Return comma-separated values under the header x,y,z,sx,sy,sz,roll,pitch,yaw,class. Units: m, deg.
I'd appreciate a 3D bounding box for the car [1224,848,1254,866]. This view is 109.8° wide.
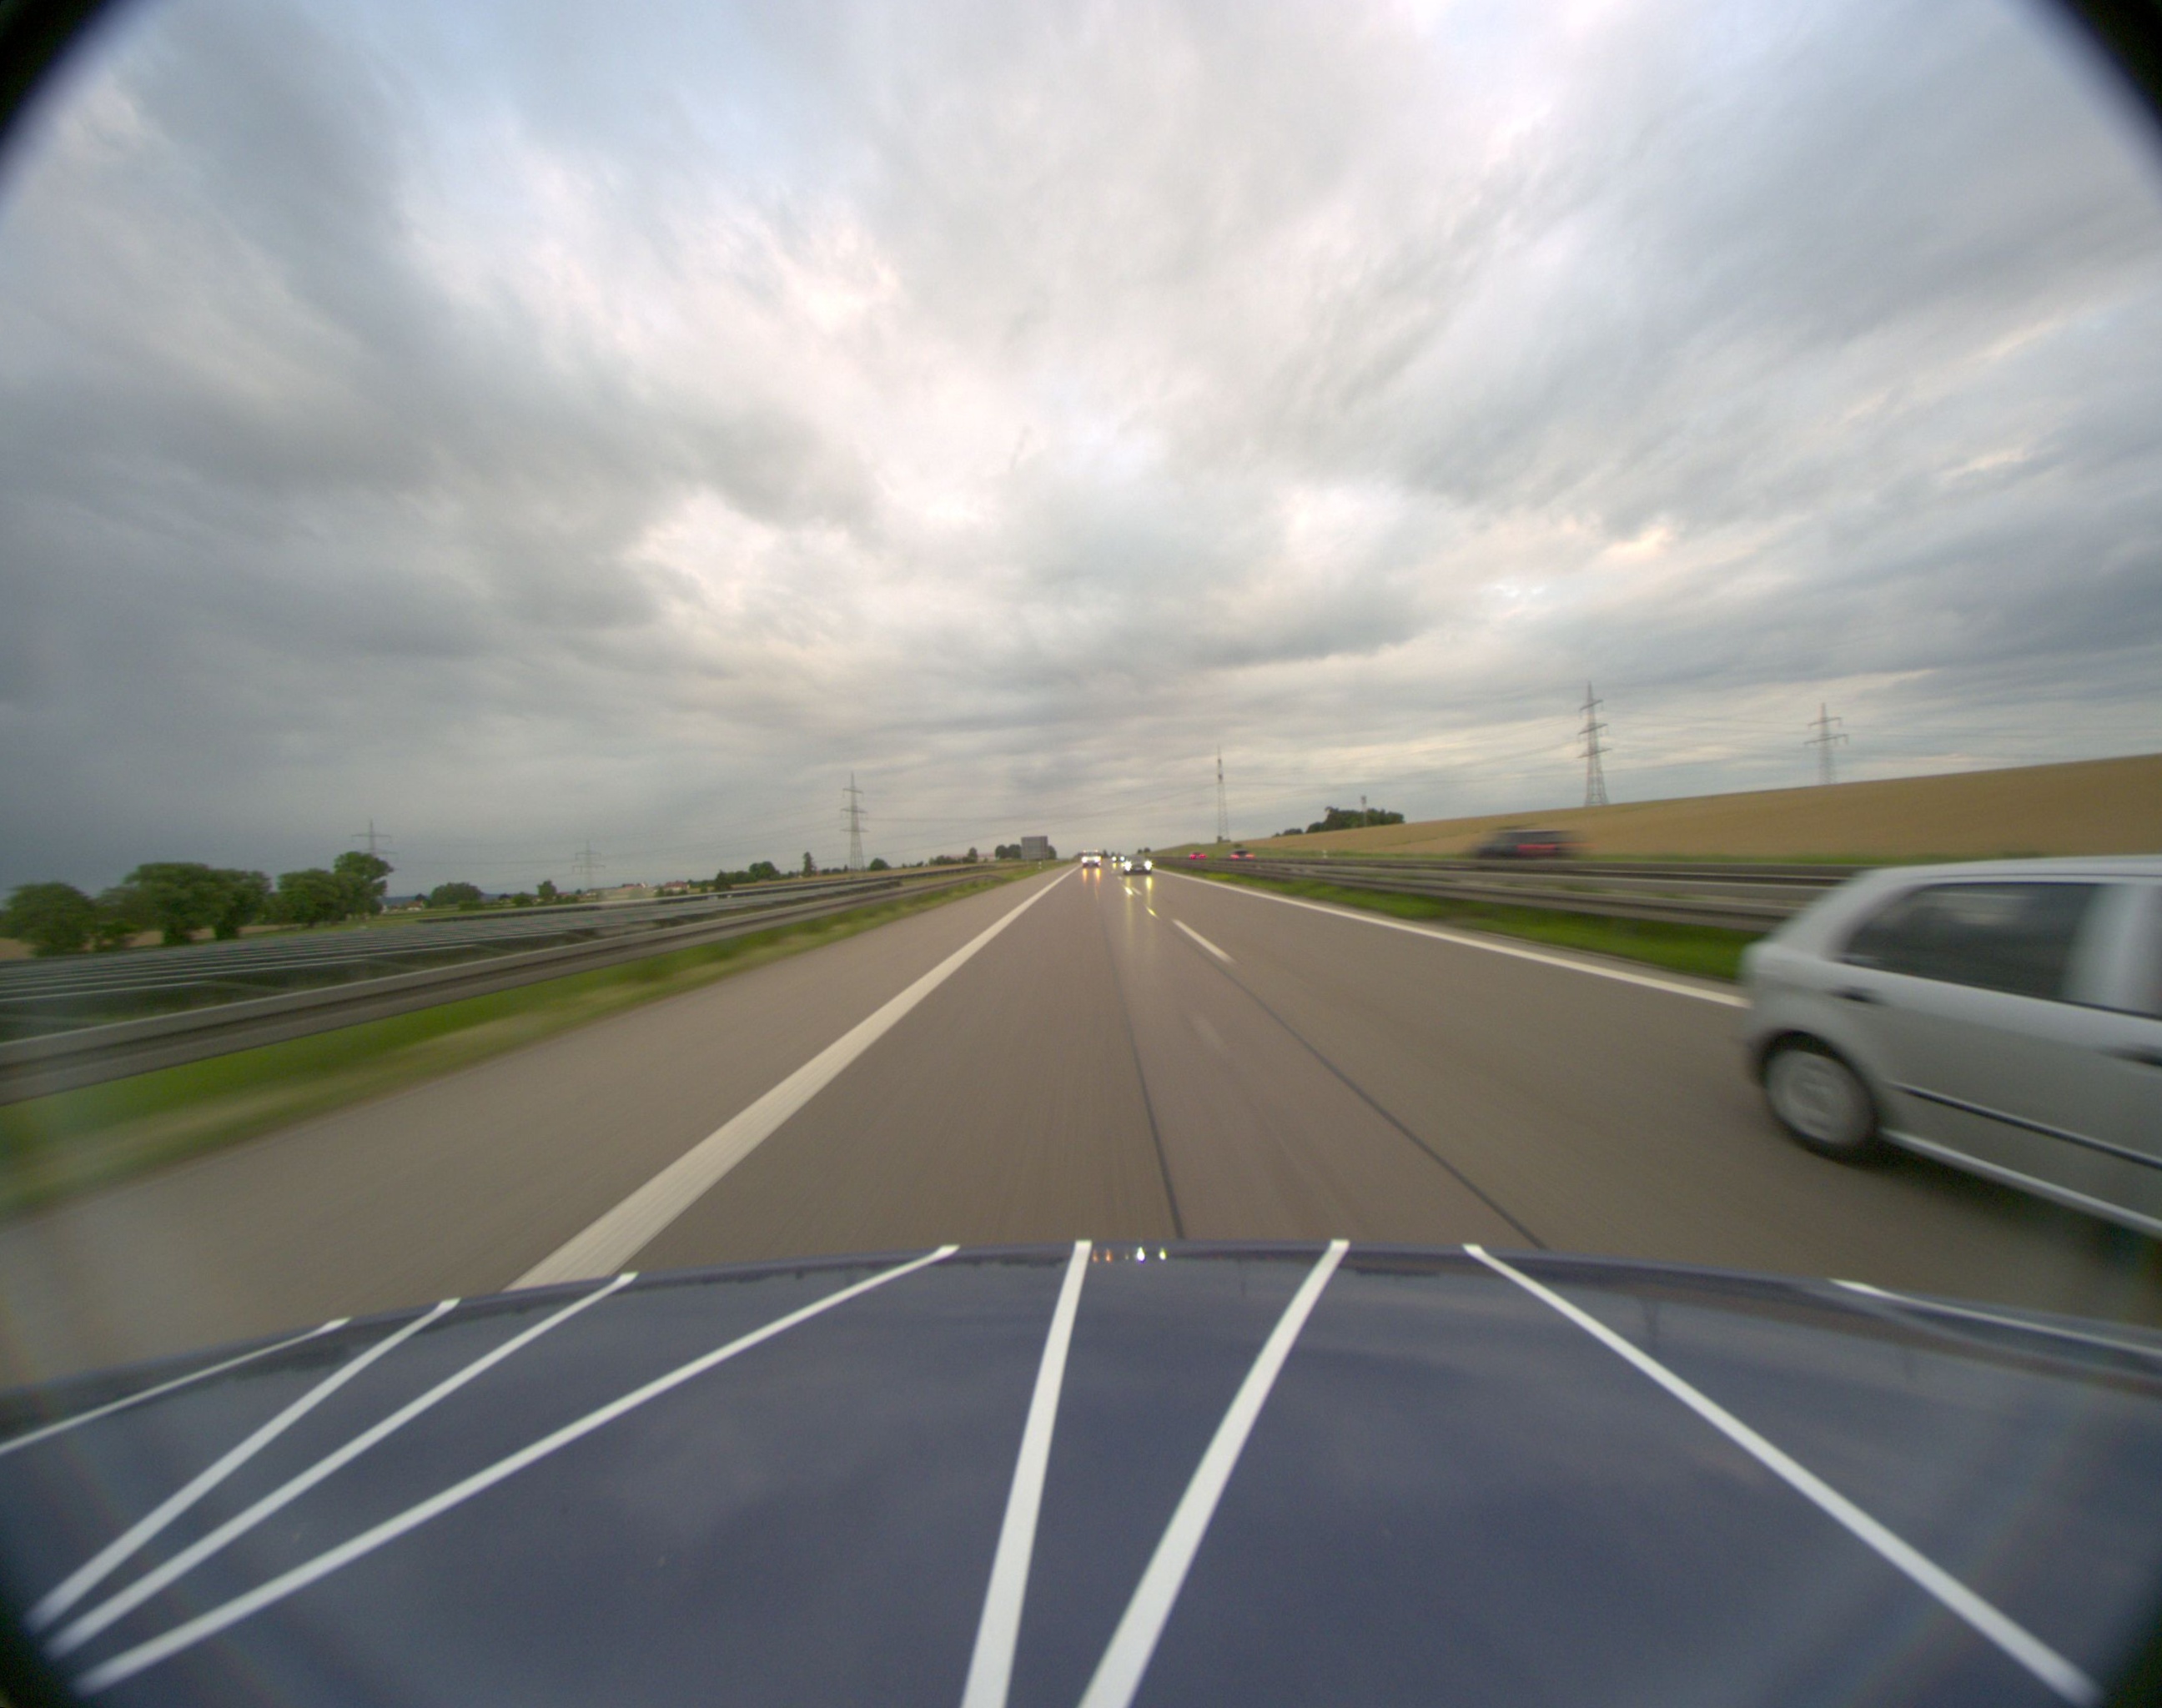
x,y,z,sx,sy,sz,roll,pitch,yaw,class
14.028,0.285,67.646,1.664,1.432,4.130,-5,0,-2,car

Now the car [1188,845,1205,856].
x,y,z,sx,sy,sz,roll,pitch,yaw,class
15.407,-0.429,101.428,1.570,1.357,4.620,-5,0,1,car

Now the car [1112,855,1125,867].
x,y,z,sx,sy,sz,roll,pitch,yaw,class
7.040,1.348,141.986,1.998,2.002,4.461,-5,0,0,car

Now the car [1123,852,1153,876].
x,y,z,sx,sy,sz,roll,pitch,yaw,class
4.217,0.708,56.986,1.951,1.619,4.536,-4,0,2,car

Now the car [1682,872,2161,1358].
x,y,z,sx,sy,sz,roll,pitch,yaw,class
4.092,0.834,1.865,1.592,1.381,4.601,-2,0,0,car

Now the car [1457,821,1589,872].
x,y,z,sx,sy,sz,roll,pitch,yaw,class
17.366,-0.243,30.294,1.891,1.683,5.769,-5,0,1,car

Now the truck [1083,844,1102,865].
x,y,z,sx,sy,sz,roll,pitch,yaw,class
1.467,0.096,96.194,2.177,2.346,7.697,-5,0,1,truck
